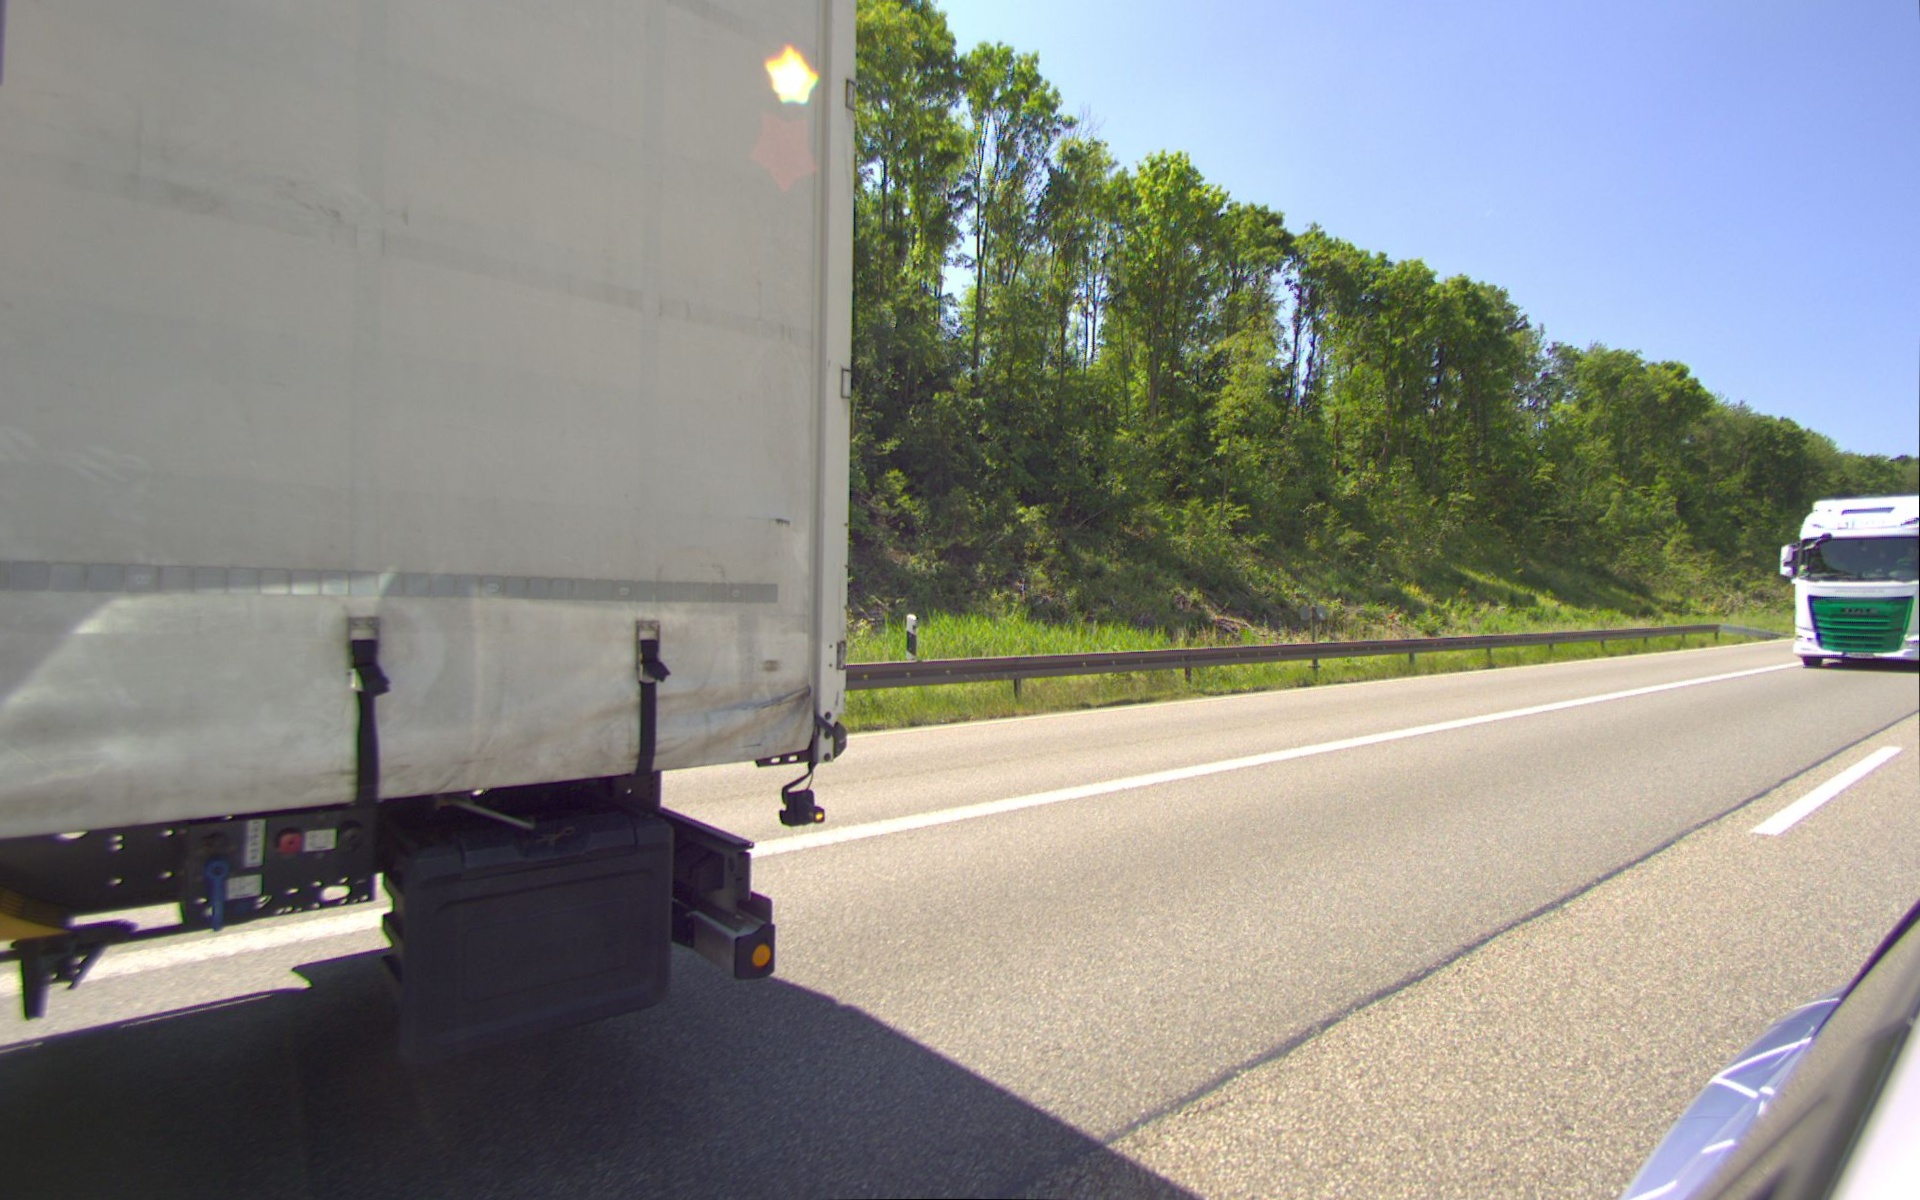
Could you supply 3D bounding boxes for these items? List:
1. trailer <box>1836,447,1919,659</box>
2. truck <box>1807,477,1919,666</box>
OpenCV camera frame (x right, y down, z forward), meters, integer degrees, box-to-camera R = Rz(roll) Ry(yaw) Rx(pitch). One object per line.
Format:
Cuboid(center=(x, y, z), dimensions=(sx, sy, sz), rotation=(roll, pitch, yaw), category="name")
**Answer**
Cuboid(center=(28.700, -1.215, 29.387), dimensions=(15.001, 5.103, 2.573), rotation=(-1, 0, -40), category="trailer")
Cuboid(center=(22.719, -0.646, 24.357), dimensions=(6.509, 4.080, 2.540), rotation=(-1, 0, -41), category="truck")
